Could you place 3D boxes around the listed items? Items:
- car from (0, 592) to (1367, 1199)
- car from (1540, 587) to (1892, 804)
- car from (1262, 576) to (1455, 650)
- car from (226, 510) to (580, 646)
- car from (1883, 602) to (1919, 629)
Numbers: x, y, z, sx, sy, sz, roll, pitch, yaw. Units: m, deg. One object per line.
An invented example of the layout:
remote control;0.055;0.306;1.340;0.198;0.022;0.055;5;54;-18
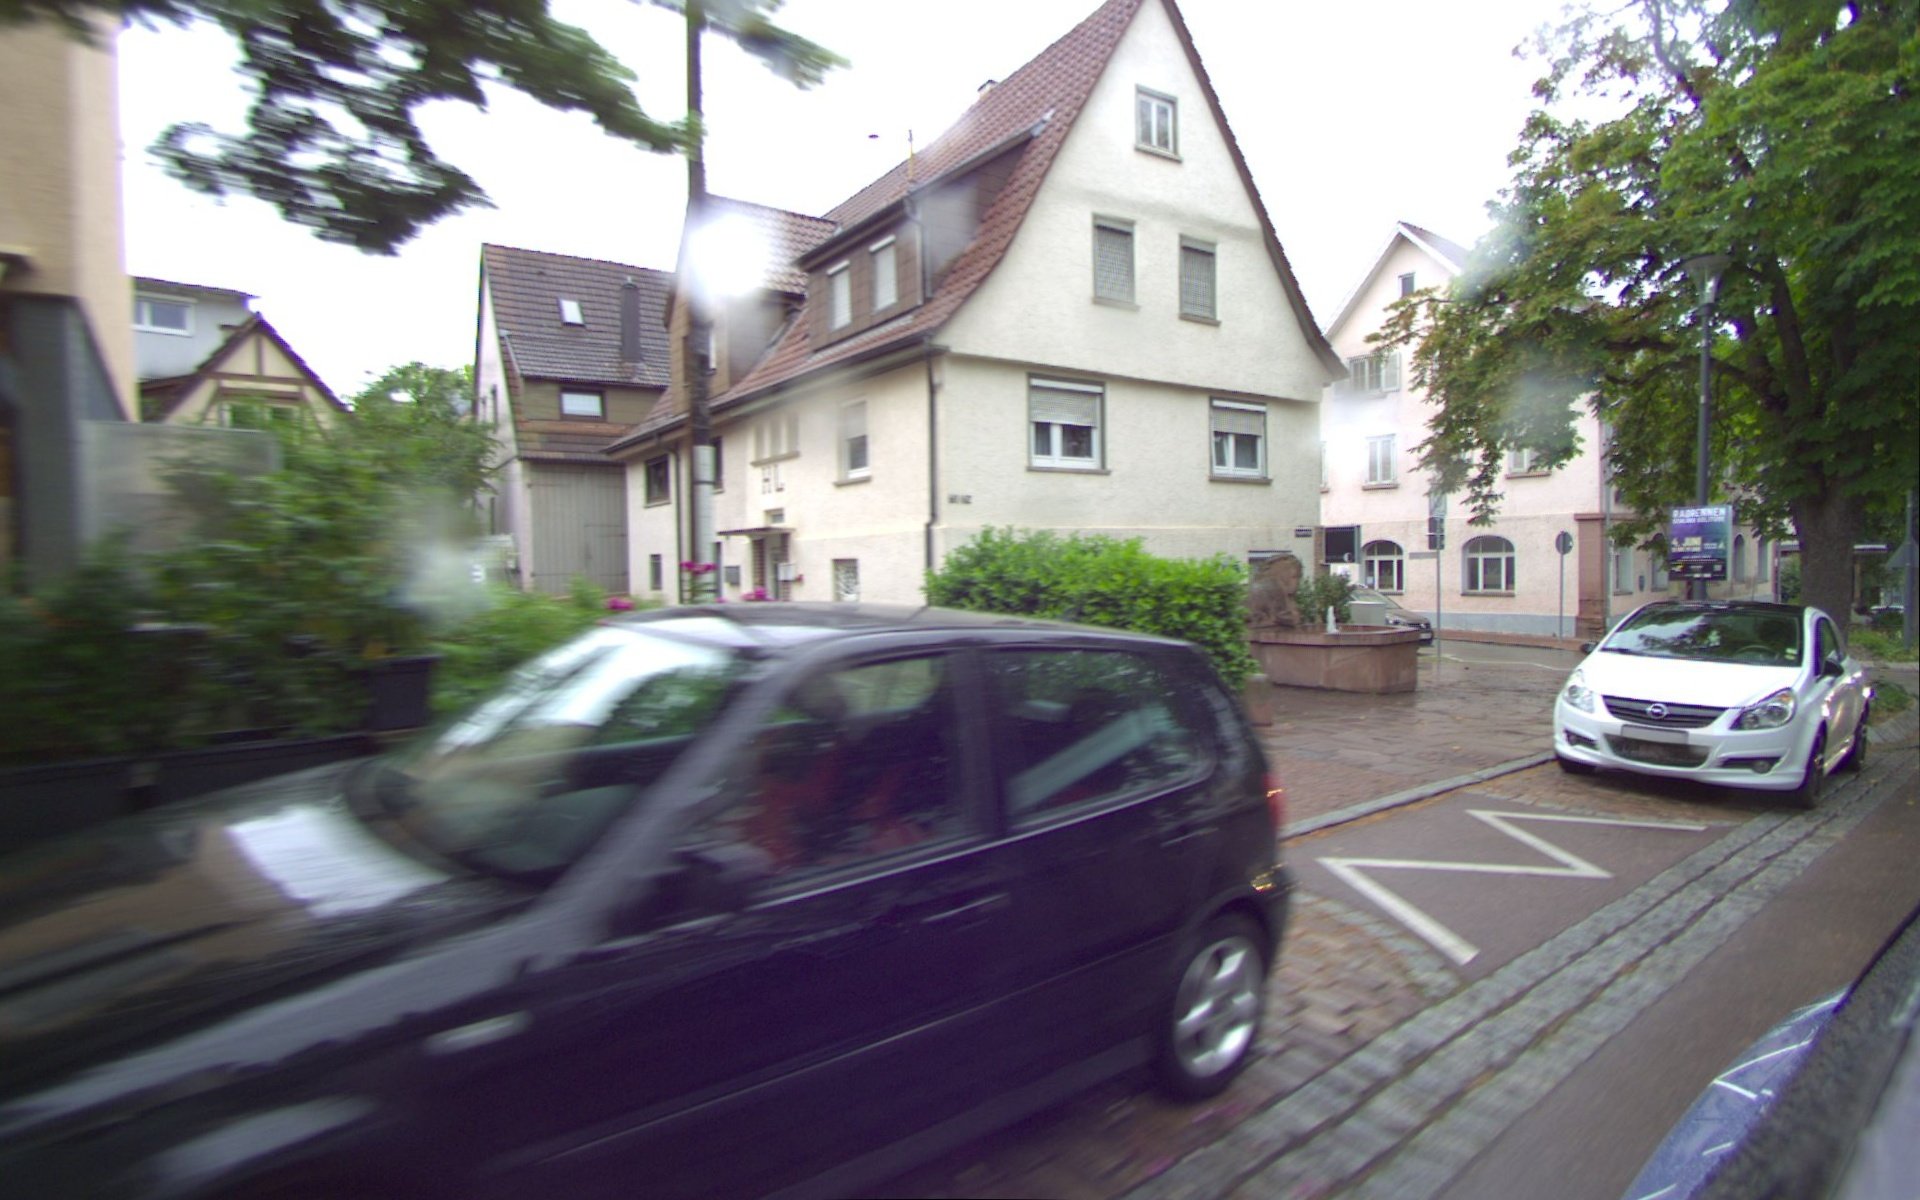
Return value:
car;-0.624;0.700;2.849;3.717;1.429;1.811;0;0;-41
car;6.536;0.614;8.609;3.729;1.417;1.683;0;2;-42
car;9.848;0.248;25.313;1.805;1.603;4.196;0;2;-34
car;-8.012;-0.277;14.732;4.259;1.700;1.896;1;1;-38
car;53.747;0.858;55.651;1.798;1.478;4.265;1;0;-41
